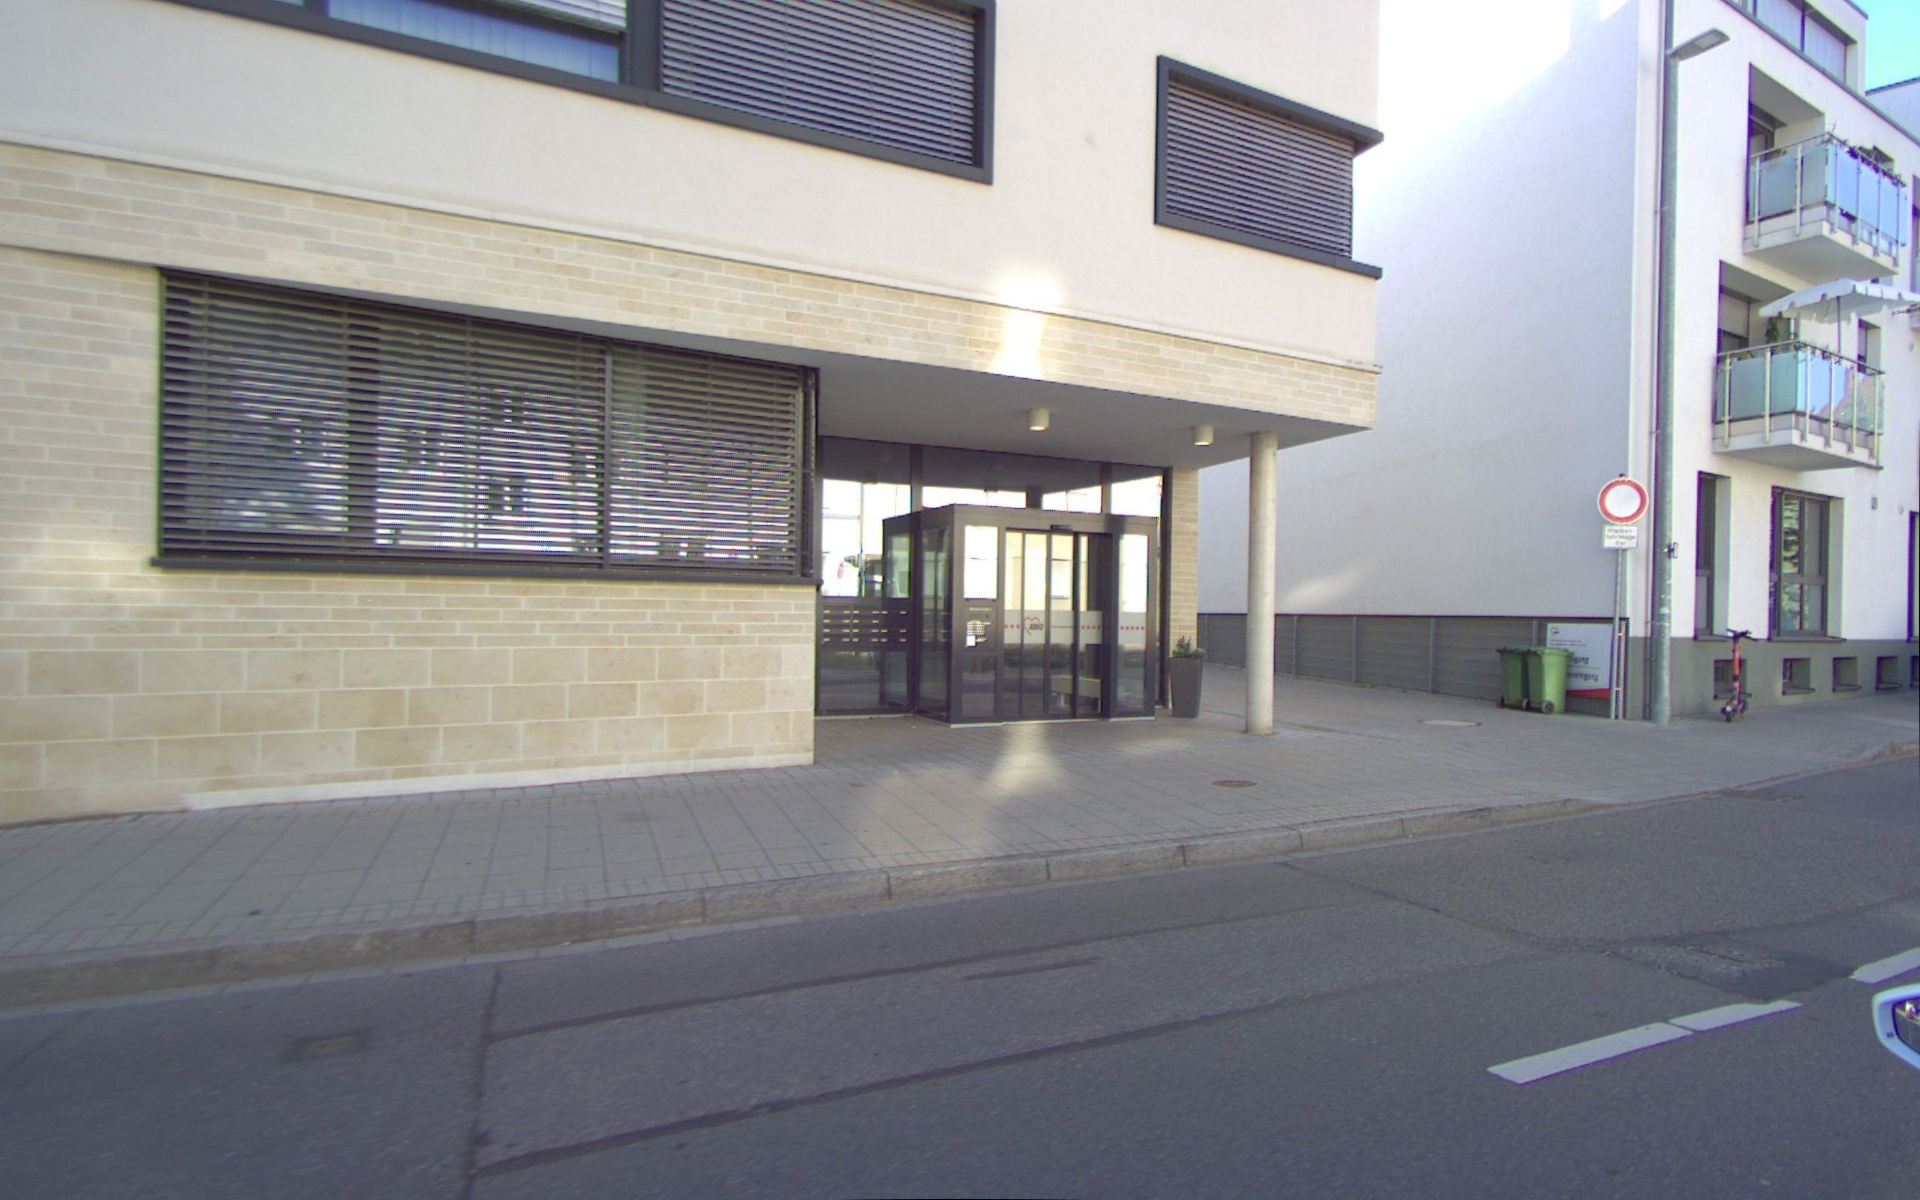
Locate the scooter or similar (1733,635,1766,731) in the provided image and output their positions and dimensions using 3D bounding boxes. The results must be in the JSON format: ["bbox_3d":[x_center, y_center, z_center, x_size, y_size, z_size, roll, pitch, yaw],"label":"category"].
[{"bbox_3d":[10.879,1.127,13.841,0.222,1.236,1.147,1,1,45],"label":"scooter or similar"}]

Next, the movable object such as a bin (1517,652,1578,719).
[{"bbox_3d":[8.380,1.215,14.334,0.520,0.913,0.549,1,0,-8],"label":"movable object such as a bin"}]

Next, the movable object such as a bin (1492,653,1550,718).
[{"bbox_3d":[8.312,1.257,14.900,0.520,0.913,0.549,1,0,-8],"label":"movable object such as a bin"}]
